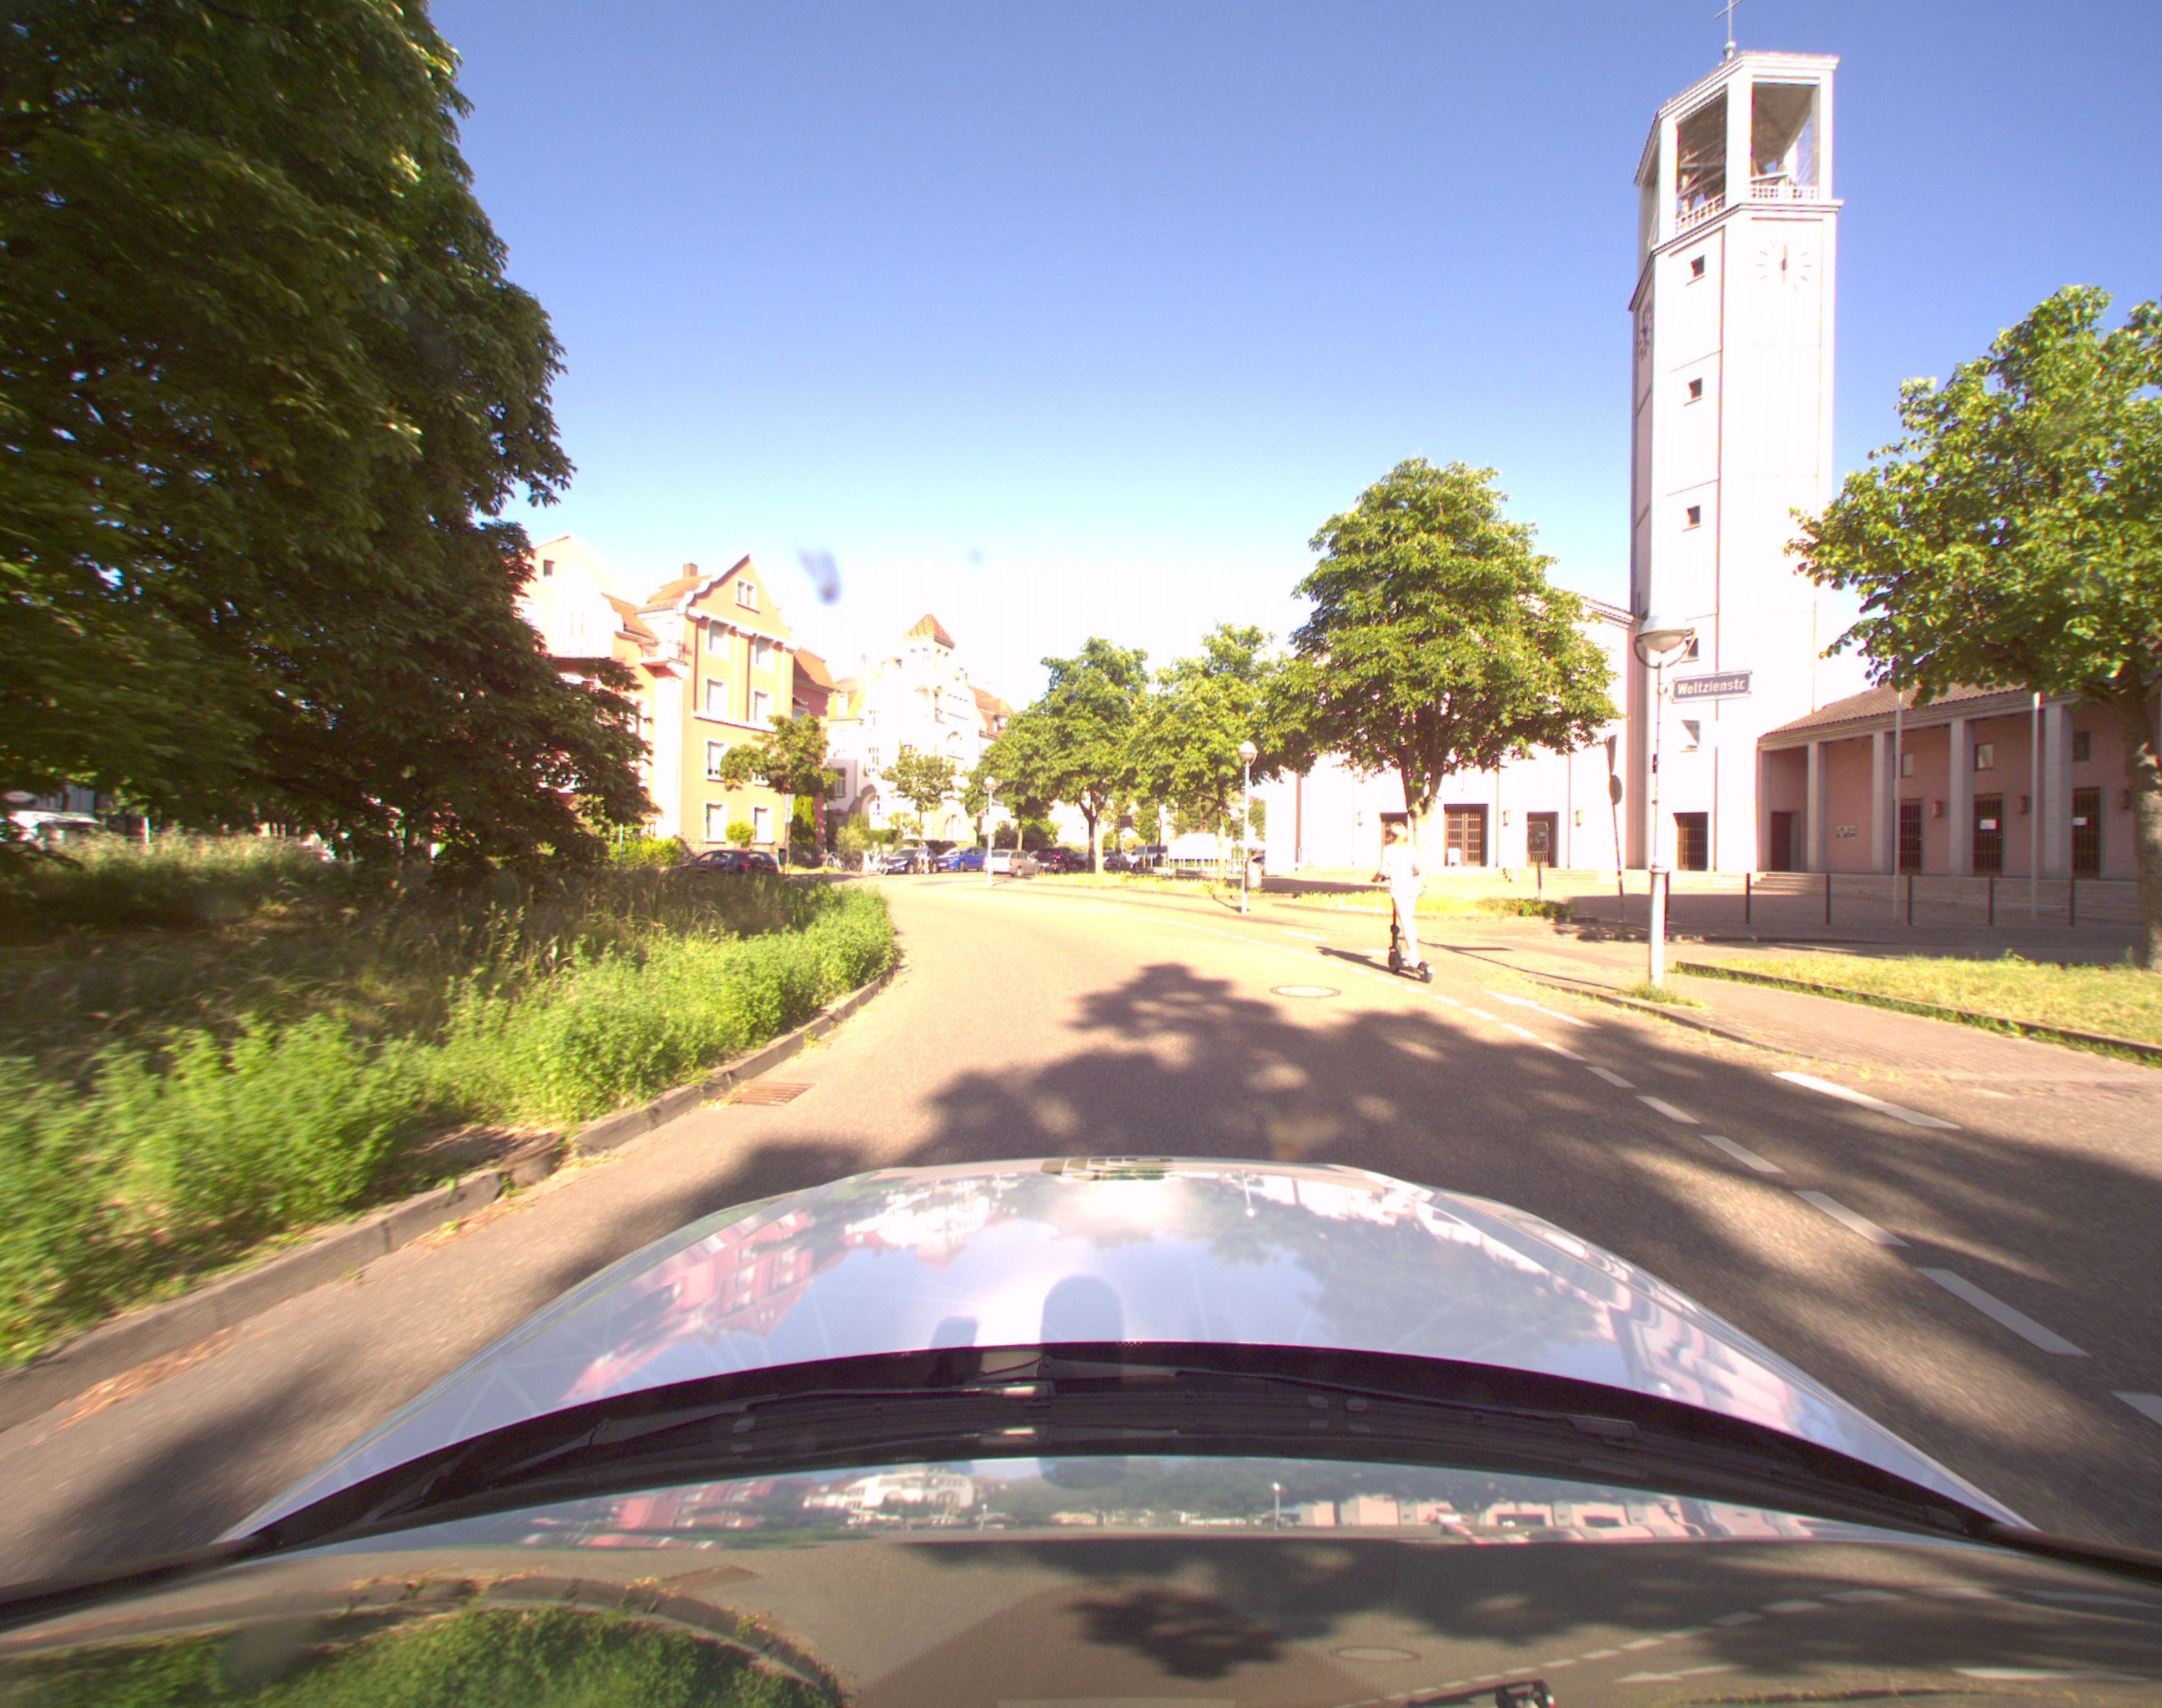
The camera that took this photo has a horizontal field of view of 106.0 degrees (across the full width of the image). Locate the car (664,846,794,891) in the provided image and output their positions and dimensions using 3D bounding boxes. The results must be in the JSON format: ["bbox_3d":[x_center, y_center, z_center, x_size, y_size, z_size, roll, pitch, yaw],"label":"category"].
[{"bbox_3d":[-11.761,0.462,27.200,3.950,1.419,1.882,0,0,26],"label":"car"}]

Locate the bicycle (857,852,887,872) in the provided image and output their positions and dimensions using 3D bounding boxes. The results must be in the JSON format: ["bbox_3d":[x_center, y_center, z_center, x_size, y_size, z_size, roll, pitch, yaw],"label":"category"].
[{"bbox_3d":[-12.464,0.470,48.479,1.707,1.107,0.503,2,1,19],"label":"bicycle"}]

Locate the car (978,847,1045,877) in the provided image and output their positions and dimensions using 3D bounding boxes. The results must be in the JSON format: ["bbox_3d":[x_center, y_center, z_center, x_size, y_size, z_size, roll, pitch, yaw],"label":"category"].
[{"bbox_3d":[-3.448,0.371,41.483,1.789,1.416,4.359,1,0,18],"label":"car"}]

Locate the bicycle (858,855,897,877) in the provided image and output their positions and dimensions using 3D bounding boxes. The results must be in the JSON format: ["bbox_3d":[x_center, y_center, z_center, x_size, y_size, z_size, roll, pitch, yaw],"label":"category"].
[{"bbox_3d":[-10.325,0.587,41.357,0.588,1.107,1.874,-1,0,44],"label":"bicycle"}]

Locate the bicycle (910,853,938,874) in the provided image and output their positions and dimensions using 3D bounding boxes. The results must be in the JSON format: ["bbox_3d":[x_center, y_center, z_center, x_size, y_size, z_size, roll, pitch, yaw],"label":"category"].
[{"bbox_3d":[-8.314,0.514,43.309,0.638,1.107,1.726,0,0,21],"label":"bicycle"}]

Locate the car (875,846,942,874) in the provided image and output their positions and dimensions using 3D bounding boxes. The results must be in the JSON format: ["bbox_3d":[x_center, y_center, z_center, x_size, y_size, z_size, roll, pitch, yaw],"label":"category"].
[{"bbox_3d":[-9.773,0.336,46.465,1.789,1.483,4.358,-2,0,18],"label":"car"}]

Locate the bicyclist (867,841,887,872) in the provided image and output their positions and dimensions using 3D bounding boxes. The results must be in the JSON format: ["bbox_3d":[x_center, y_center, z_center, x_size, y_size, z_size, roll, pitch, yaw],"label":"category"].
[{"bbox_3d":[-10.363,0.134,41.320,0.588,1.581,0.809,-1,0,44],"label":"bicyclist"}]

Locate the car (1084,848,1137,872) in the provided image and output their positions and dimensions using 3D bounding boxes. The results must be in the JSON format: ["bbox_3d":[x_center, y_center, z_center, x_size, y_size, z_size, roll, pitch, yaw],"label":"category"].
[{"bbox_3d":[1.996,0.412,53.581,1.787,1.474,4.364,1,0,26],"label":"car"}]

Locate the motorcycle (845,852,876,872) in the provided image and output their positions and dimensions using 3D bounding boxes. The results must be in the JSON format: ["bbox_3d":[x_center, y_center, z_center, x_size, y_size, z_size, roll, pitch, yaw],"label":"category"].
[{"bbox_3d":[-12.798,0.474,47.290,1.708,1.107,0.503,2,1,16],"label":"motorcycle"}]

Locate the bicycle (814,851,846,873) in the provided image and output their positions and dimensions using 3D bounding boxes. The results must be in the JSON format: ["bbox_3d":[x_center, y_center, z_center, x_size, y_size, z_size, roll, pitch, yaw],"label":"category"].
[{"bbox_3d":[-13.887,0.428,45.048,1.706,1.115,0.549,2,1,23],"label":"bicycle"}]

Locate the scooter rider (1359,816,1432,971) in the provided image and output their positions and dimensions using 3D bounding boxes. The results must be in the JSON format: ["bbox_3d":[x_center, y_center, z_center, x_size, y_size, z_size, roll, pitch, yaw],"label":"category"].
[{"bbox_3d":[3.847,0.470,10.000,0.622,1.832,0.631,1,0,-2],"label":"scooter rider"}]

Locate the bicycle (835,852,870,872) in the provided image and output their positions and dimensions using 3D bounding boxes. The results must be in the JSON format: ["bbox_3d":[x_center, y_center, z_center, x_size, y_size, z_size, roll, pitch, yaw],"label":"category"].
[{"bbox_3d":[-13.097,0.450,46.644,1.814,1.107,0.502,2,1,7],"label":"bicycle"}]

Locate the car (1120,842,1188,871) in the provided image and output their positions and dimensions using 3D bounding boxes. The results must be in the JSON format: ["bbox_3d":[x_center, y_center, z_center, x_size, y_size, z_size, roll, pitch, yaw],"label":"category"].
[{"bbox_3d":[5.464,0.171,60.853,4.726,2.001,1.818,1,0,18],"label":"car"}]

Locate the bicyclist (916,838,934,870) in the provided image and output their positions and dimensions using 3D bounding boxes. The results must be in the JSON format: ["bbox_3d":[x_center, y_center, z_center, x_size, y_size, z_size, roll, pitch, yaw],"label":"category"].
[{"bbox_3d":[-8.327,-0.006,43.394,0.638,1.714,0.727,0,-1,20],"label":"bicyclist"}]

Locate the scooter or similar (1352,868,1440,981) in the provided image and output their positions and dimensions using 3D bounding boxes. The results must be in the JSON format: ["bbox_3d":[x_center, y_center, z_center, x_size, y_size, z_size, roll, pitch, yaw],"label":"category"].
[{"bbox_3d":[3.839,0.828,10.000,0.629,1.283,1.105,1,0,-2],"label":"scooter or similar"}]

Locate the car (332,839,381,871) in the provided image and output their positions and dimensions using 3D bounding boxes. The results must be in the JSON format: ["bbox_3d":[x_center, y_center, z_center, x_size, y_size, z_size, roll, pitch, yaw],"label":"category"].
[{"bbox_3d":[-38.337,0.032,43.172,1.696,1.562,4.245,2,-1,-39],"label":"car"}]

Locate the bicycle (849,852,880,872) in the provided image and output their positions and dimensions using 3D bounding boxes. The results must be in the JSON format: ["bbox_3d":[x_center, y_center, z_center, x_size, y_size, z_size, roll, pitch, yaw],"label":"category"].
[{"bbox_3d":[-12.738,0.470,47.871,1.708,1.107,0.503,2,1,16],"label":"bicycle"}]

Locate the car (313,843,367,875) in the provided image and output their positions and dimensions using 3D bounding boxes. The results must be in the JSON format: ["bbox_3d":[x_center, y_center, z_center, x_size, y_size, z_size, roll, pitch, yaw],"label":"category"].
[{"bbox_3d":[-35.478,0.211,39.071,1.696,1.447,3.505,2,-1,-39],"label":"car"}]

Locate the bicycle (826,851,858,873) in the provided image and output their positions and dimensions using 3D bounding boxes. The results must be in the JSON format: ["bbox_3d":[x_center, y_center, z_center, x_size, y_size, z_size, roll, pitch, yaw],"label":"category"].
[{"bbox_3d":[-13.484,0.447,45.917,1.706,1.115,0.549,2,1,23],"label":"bicycle"}]

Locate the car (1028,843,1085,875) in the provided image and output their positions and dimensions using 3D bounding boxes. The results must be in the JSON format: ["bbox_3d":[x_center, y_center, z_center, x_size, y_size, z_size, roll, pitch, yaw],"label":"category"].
[{"bbox_3d":[-1.340,0.269,46.000,1.789,1.728,4.359,1,0,18],"label":"car"}]

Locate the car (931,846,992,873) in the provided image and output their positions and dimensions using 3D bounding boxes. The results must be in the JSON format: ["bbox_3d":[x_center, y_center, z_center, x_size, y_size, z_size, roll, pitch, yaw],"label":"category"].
[{"bbox_3d":[-7.474,0.317,51.440,1.788,1.561,4.423,-2,-1,22],"label":"car"}]

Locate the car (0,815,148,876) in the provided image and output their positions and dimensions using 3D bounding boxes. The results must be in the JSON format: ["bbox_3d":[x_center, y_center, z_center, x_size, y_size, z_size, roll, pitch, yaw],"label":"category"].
[{"bbox_3d":[-47.259,-0.408,37.417,6.332,2.600,2.104,2,-1,1],"label":"car"}]
